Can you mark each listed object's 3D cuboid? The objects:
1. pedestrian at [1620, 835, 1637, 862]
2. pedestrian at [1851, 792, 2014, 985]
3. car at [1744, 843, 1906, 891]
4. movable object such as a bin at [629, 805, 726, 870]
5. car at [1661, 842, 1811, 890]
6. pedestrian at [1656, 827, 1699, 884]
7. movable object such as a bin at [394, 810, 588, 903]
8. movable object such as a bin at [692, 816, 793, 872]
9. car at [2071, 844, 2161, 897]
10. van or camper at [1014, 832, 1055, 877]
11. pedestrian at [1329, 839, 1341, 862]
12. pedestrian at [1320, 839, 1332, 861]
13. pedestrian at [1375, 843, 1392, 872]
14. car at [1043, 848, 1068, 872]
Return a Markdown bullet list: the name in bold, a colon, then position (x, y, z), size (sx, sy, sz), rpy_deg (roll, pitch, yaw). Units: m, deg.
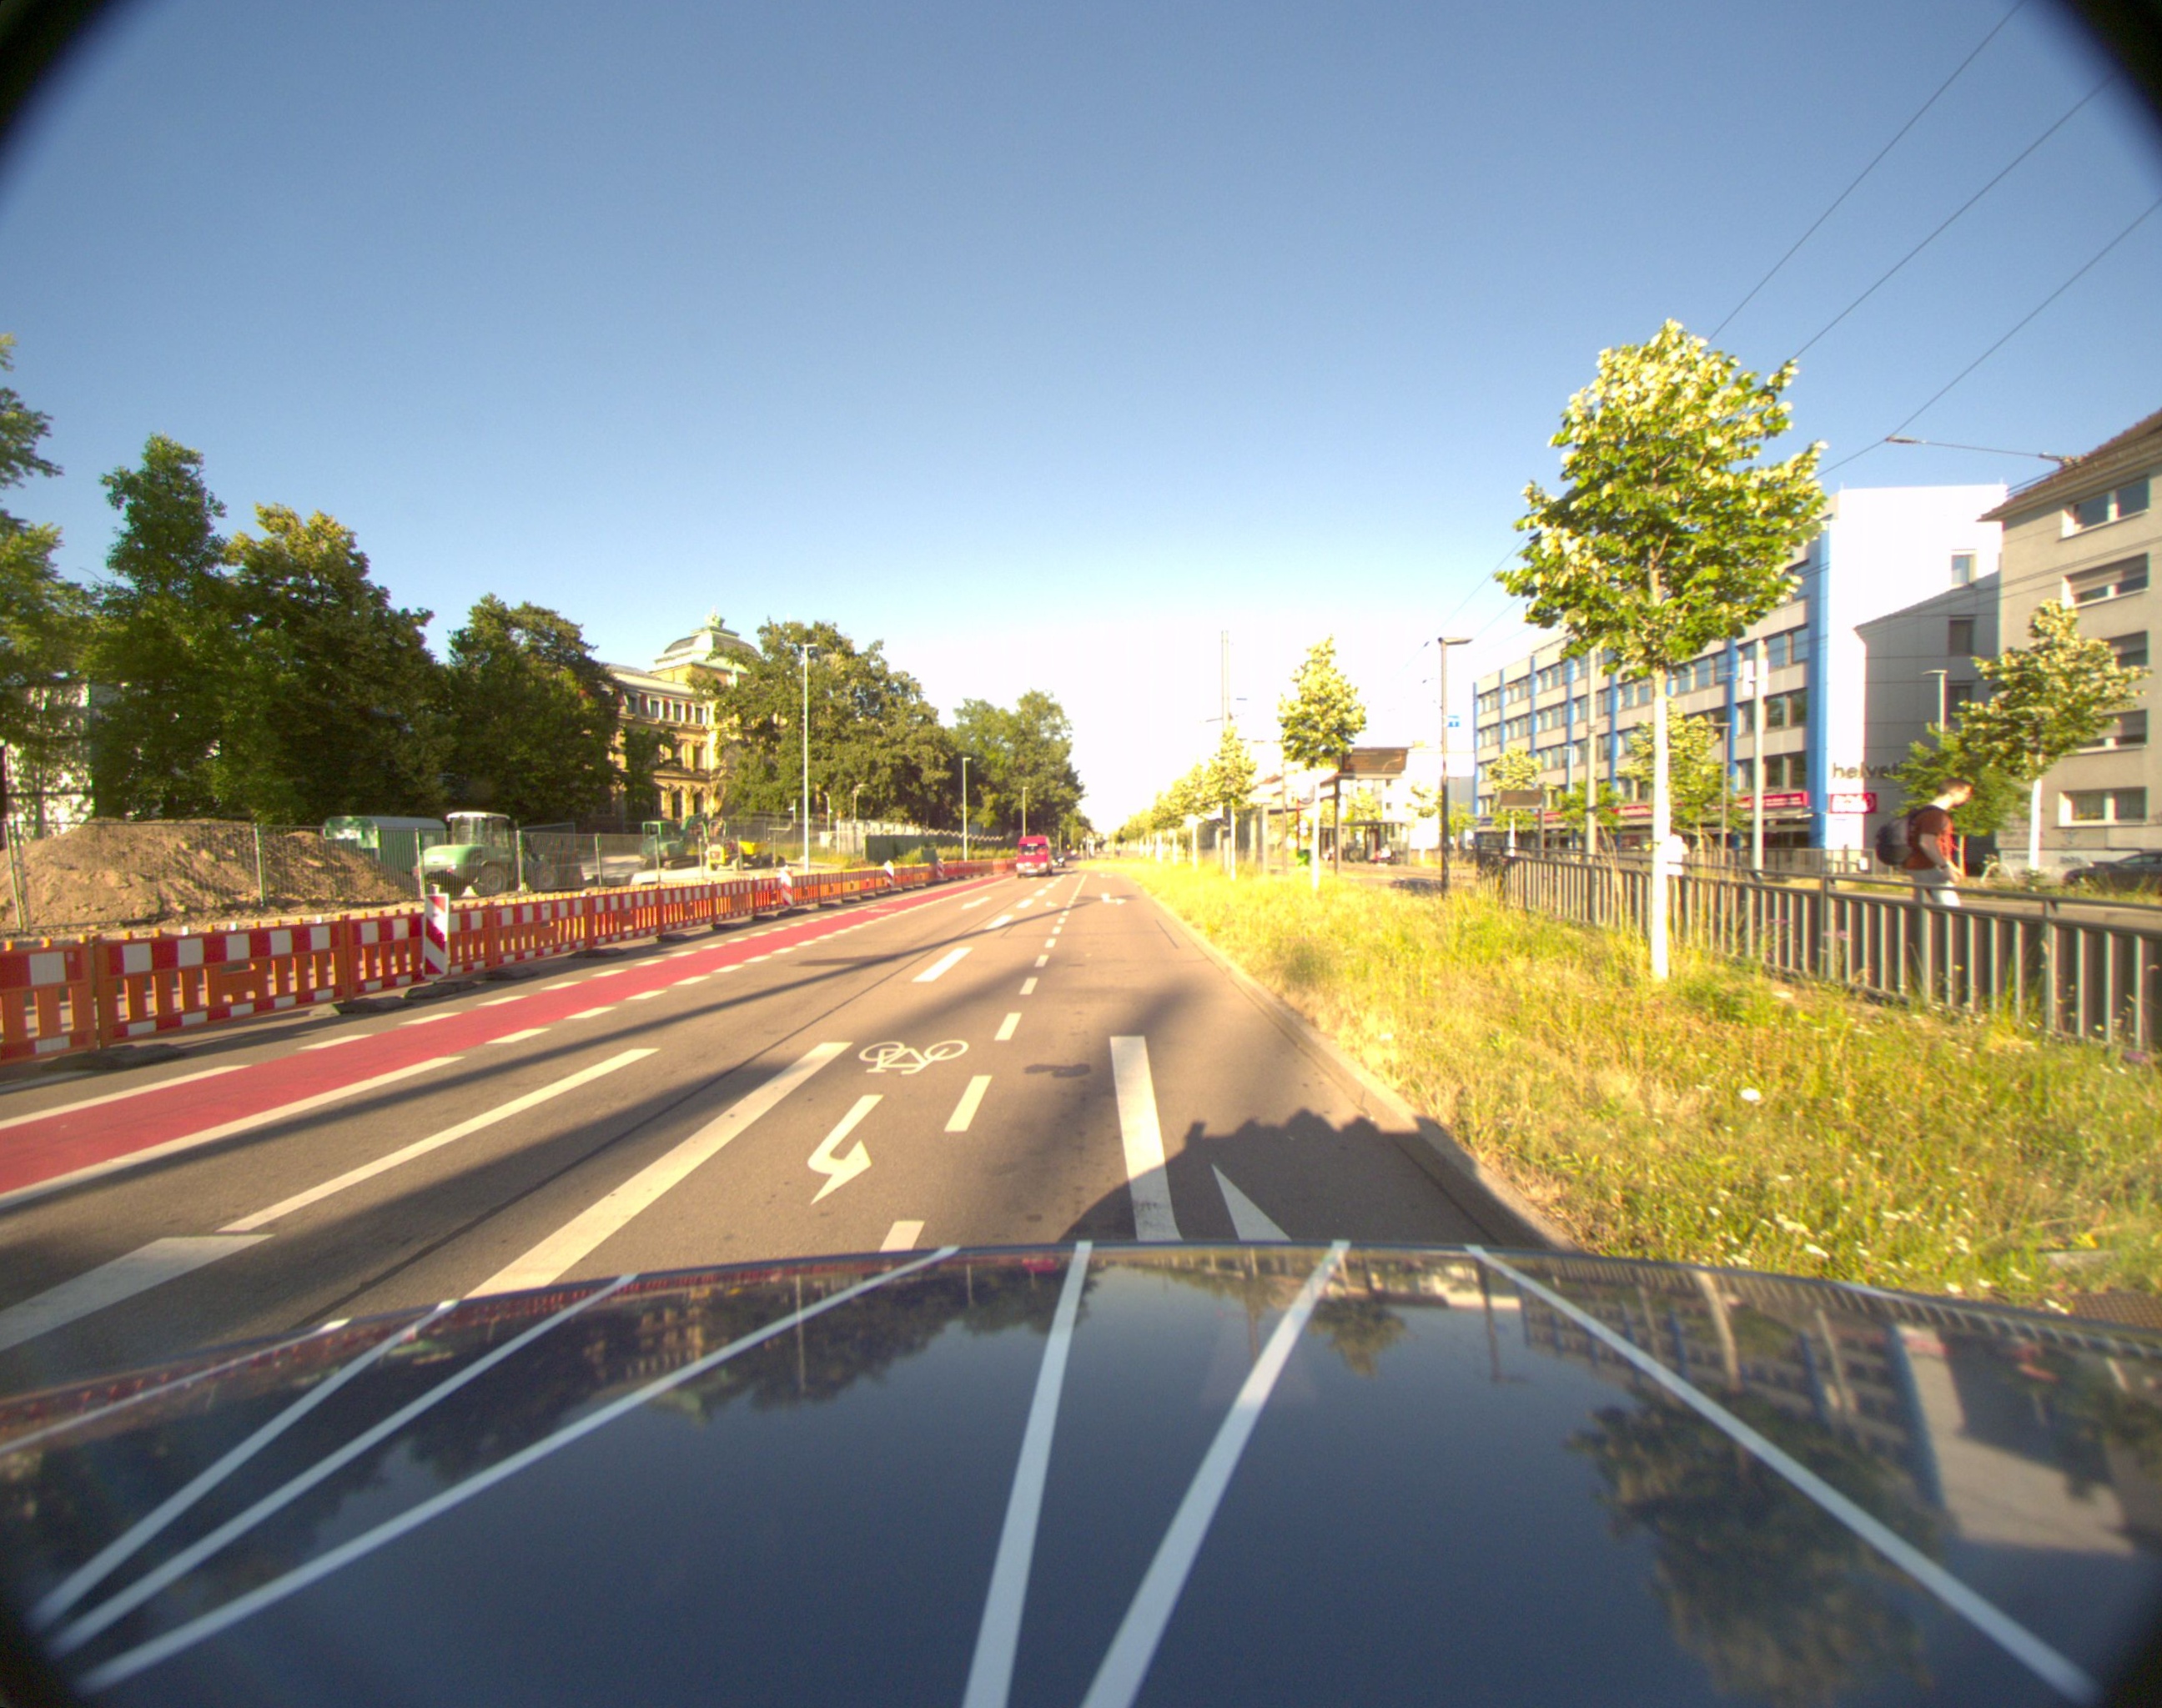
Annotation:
- **pedestrian**: position (36.212, -0.374, 50.244), size (0.645, 1.736, 0.599), rpy_deg (-2, 2, 7)
- **pedestrian**: position (7.868, 0.303, 7.049), size (0.787, 1.689, 0.619), rpy_deg (-2, 2, 4)
- **car**: position (26.111, 0.384, 26.861), size (1.886, 1.499, 3.942), rpy_deg (-2, 1, 1)
- **movable object such as a bin**: position (-22.411, -0.927, 42.487), size (1.998, 3.310, 5.376), rpy_deg (-2, 1, 6)
- **car**: position (22.832, 0.356, 26.721), size (1.886, 1.499, 3.942), rpy_deg (-2, 1, 1)
- **pedestrian**: position (17.883, 0.030, 22.804), size (0.787, 1.663, 0.619), rpy_deg (-2, 2, 4)
- **movable object such as a bin**: position (-19.032, 0.030, 24.904), size (1.998, 2.668, 5.014), rpy_deg (-2, 1, 5)
- **movable object such as a bin**: position (-18.631, -0.590, 42.252), size (1.997, 2.800, 5.870), rpy_deg (-2, 1, 11)
- **car**: position (33.200, 0.480, 22.919), size (1.886, 1.499, 3.673), rpy_deg (-2, 1, 1)
- **van or camper**: position (-2.799, -0.030, 46.929), size (1.998, 2.514, 5.913), rpy_deg (-2, 1, 1)
- **pedestrian**: position (18.642, -0.251, 55.714), size (0.659, 1.683, 0.772), rpy_deg (-2, 1, 7)
- **pedestrian**: position (18.683, -0.291, 58.020), size (0.659, 1.683, 0.772), rpy_deg (-2, 1, 4)
- **pedestrian**: position (18.257, 0.204, 45.802), size (0.660, 1.683, 0.772), rpy_deg (-2, 1, -1)
- **car**: position (-2.300, 0.551, 69.046), size (1.998, 2.002, 3.999), rpy_deg (-2, 1, 1)
